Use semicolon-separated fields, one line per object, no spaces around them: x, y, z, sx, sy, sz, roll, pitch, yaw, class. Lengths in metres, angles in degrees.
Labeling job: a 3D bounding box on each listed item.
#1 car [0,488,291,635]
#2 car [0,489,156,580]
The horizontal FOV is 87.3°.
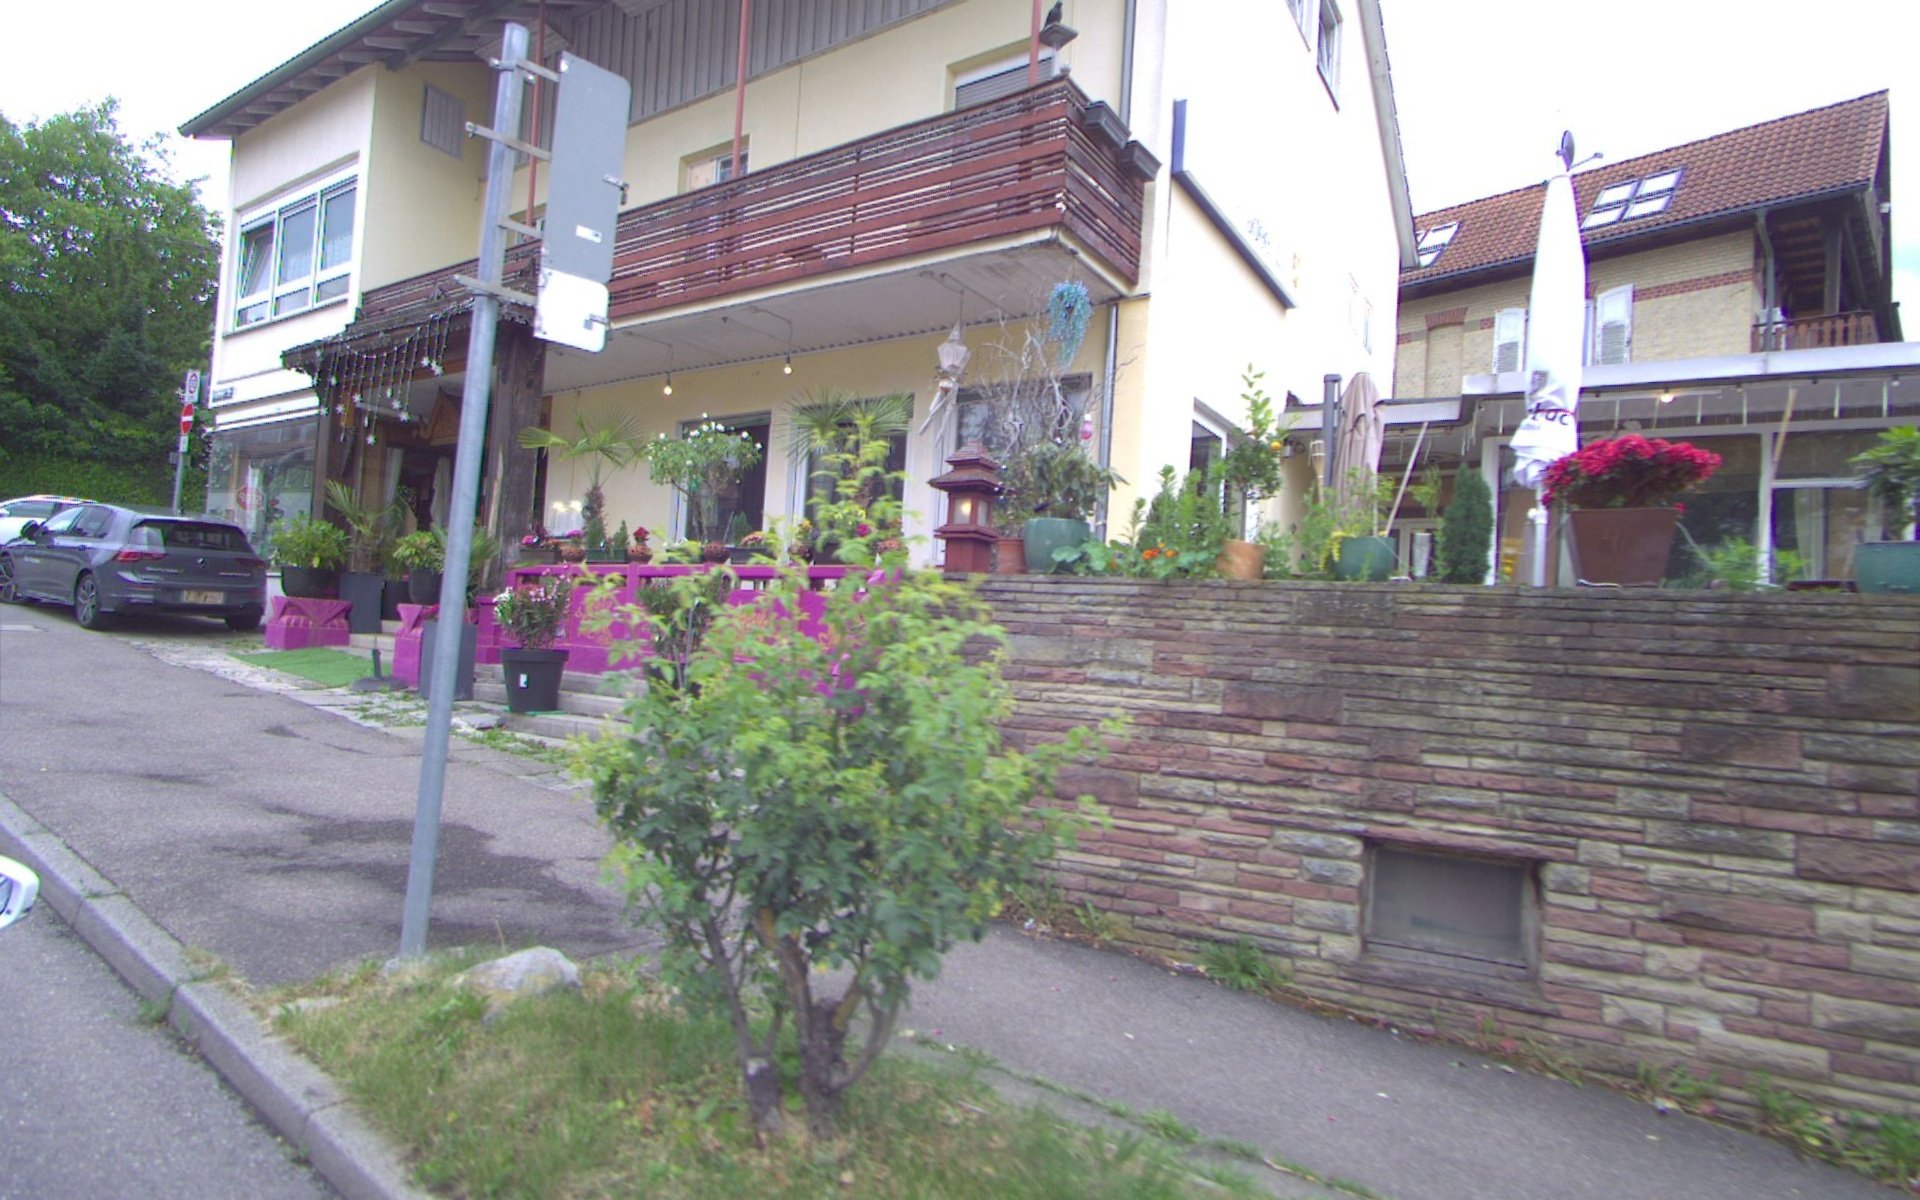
-10.780;-0.538;12.948;4.312;1.491;1.850;6;1;30;car
-20.252;-1.465;21.816;4.224;1.612;1.967;7;-4;-42;car
